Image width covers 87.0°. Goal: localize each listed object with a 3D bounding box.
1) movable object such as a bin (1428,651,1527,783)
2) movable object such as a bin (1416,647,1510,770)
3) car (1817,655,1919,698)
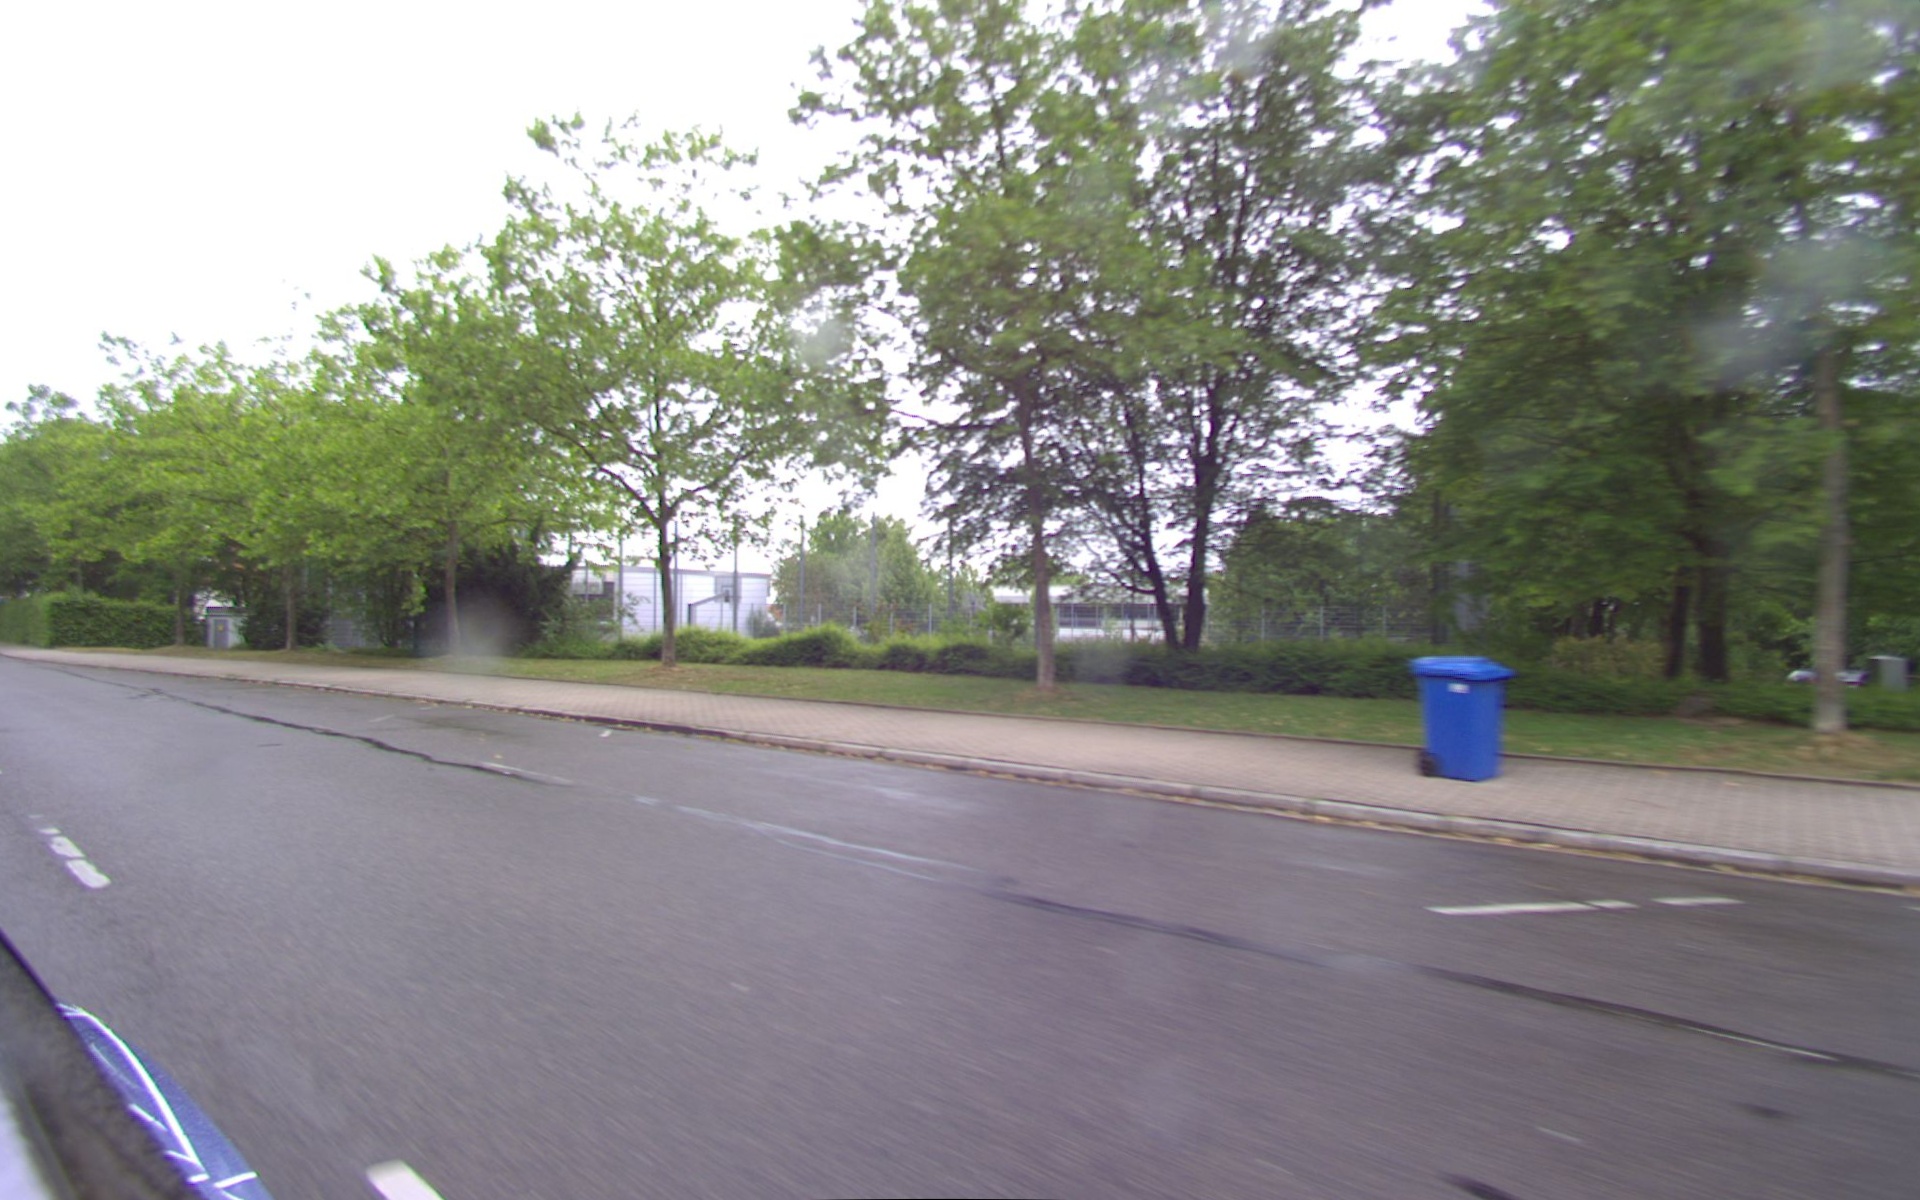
[{"bbox_3d":[4.764,1.047,9.317,0.672,1.107,0.560,-1,1,43],"label":"movable object such as a bin"},{"bbox_3d":[4.949,1.044,9.958,0.672,1.107,0.560,-1,1,43],"label":"movable object such as a bin"},{"bbox_3d":[39.165,3.283,43.191,3.935,1.521,1.804,4,0,-10],"label":"car"}]
